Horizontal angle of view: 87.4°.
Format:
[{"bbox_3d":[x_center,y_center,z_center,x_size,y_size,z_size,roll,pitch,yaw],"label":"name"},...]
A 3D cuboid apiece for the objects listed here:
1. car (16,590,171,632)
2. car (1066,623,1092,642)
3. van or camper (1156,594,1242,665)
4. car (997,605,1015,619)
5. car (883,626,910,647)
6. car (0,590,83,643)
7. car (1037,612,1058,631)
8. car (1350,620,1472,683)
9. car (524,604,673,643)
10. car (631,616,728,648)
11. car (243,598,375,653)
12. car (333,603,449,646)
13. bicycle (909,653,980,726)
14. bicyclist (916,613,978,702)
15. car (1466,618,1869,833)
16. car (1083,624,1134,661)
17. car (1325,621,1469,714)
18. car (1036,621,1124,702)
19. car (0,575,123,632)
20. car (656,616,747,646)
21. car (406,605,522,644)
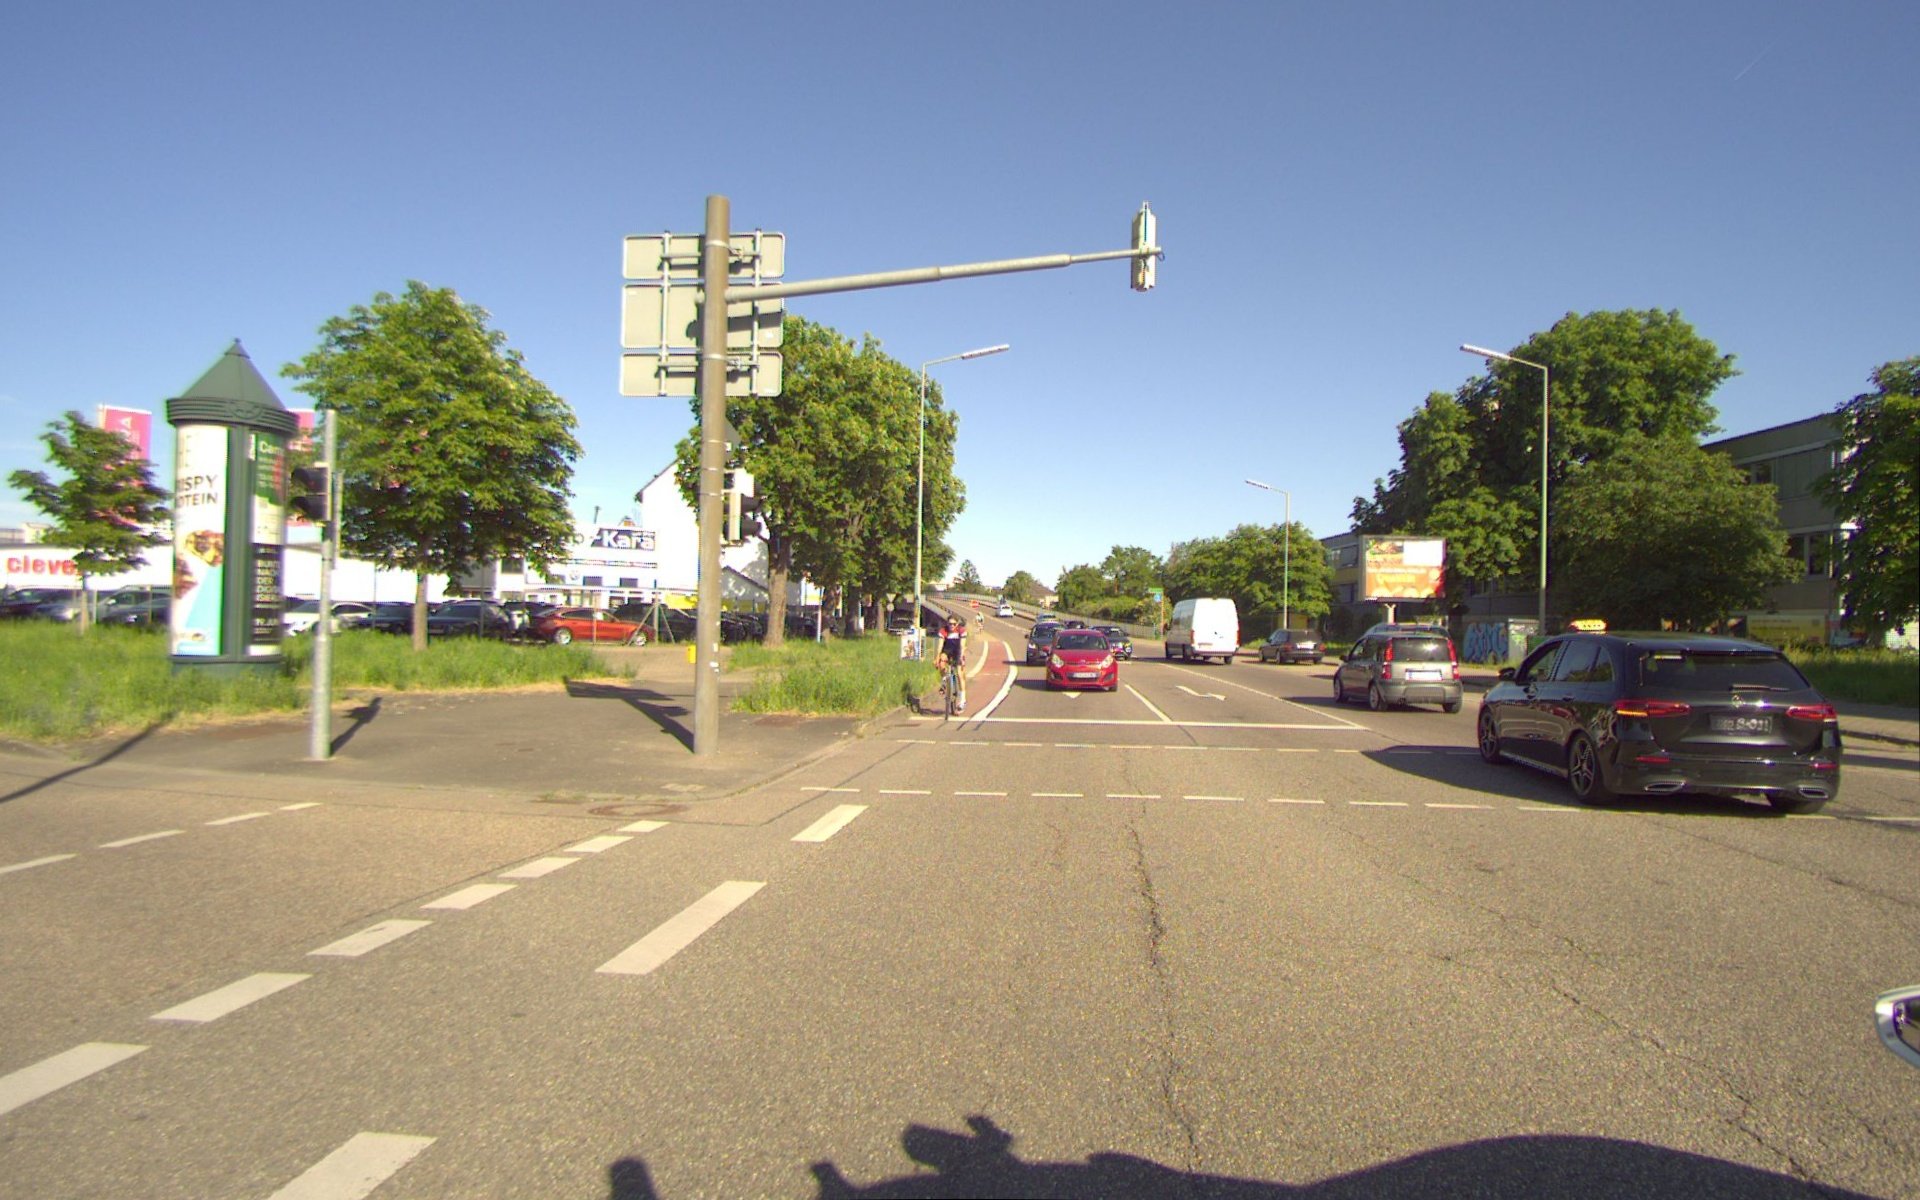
[{"bbox_3d":[-32.108,0.428,37.384,1.802,1.427,4.002,1,-1,16],"label":"car"},{"bbox_3d":[9.630,2.626,81.521,1.886,1.508,4.273,0,-2,5],"label":"car"},{"bbox_3d":[10.211,1.228,43.570,2.189,2.775,7.082,2,-1,2],"label":"van or camper"},{"bbox_3d":[5.496,1.448,120.488,1.847,1.564,3.998,2,-1,-3],"label":"car"},{"bbox_3d":[-4.906,2.795,77.780,2.005,1.483,4.959,1,-1,-4],"label":"car"},{"bbox_3d":[-37.348,0.621,39.378,1.960,2.040,4.001,1,-1,19],"label":"car"},{"bbox_3d":[8.322,2.055,95.389,1.960,1.702,4.003,0,-2,6],"label":"car"},{"bbox_3d":[13.416,1.496,30.210,1.841,1.745,4.615,-1,-2,4],"label":"car"},{"bbox_3d":[-13.896,0.908,38.684,5.005,1.327,2.340,2,-1,-32],"label":"car"},{"bbox_3d":[-12.073,1.374,43.147,3.872,1.257,2.035,2,-1,-19],"label":"car"},{"bbox_3d":[-23.888,0.937,37.025,1.959,1.911,4.003,1,-1,6],"label":"car"},{"bbox_3d":[-21.119,0.919,37.463,1.710,1.481,4.003,1,-1,6],"label":"car"},{"bbox_3d":[-0.218,1.461,16.863,0.921,1.030,2.198,2,-1,6],"label":"bicycle"},{"bbox_3d":[-0.205,0.949,16.869,0.917,1.420,0.823,2,0,5],"label":"bicyclist"},{"bbox_3d":[6.527,1.025,9.869,1.739,1.613,3.992,1,-1,11],"label":"car"},{"bbox_3d":[6.719,1.900,45.816,1.881,1.620,4.001,1,-1,2],"label":"car"},{"bbox_3d":[8.735,1.298,20.441,1.774,1.661,4.003,1,-2,10],"label":"car"},{"bbox_3d":[2.922,1.450,25.255,1.821,1.759,4.271,1,0,2],"label":"car"},{"bbox_3d":[-34.886,0.177,38.385,1.960,2.040,4.001,1,-1,18],"label":"car"},{"bbox_3d":[-11.841,1.410,46.006,3.872,1.257,2.035,2,-1,-19],"label":"car"},{"bbox_3d":[-20.721,1.037,42.058,3.919,1.526,1.834,1,-1,5],"label":"car"}]
